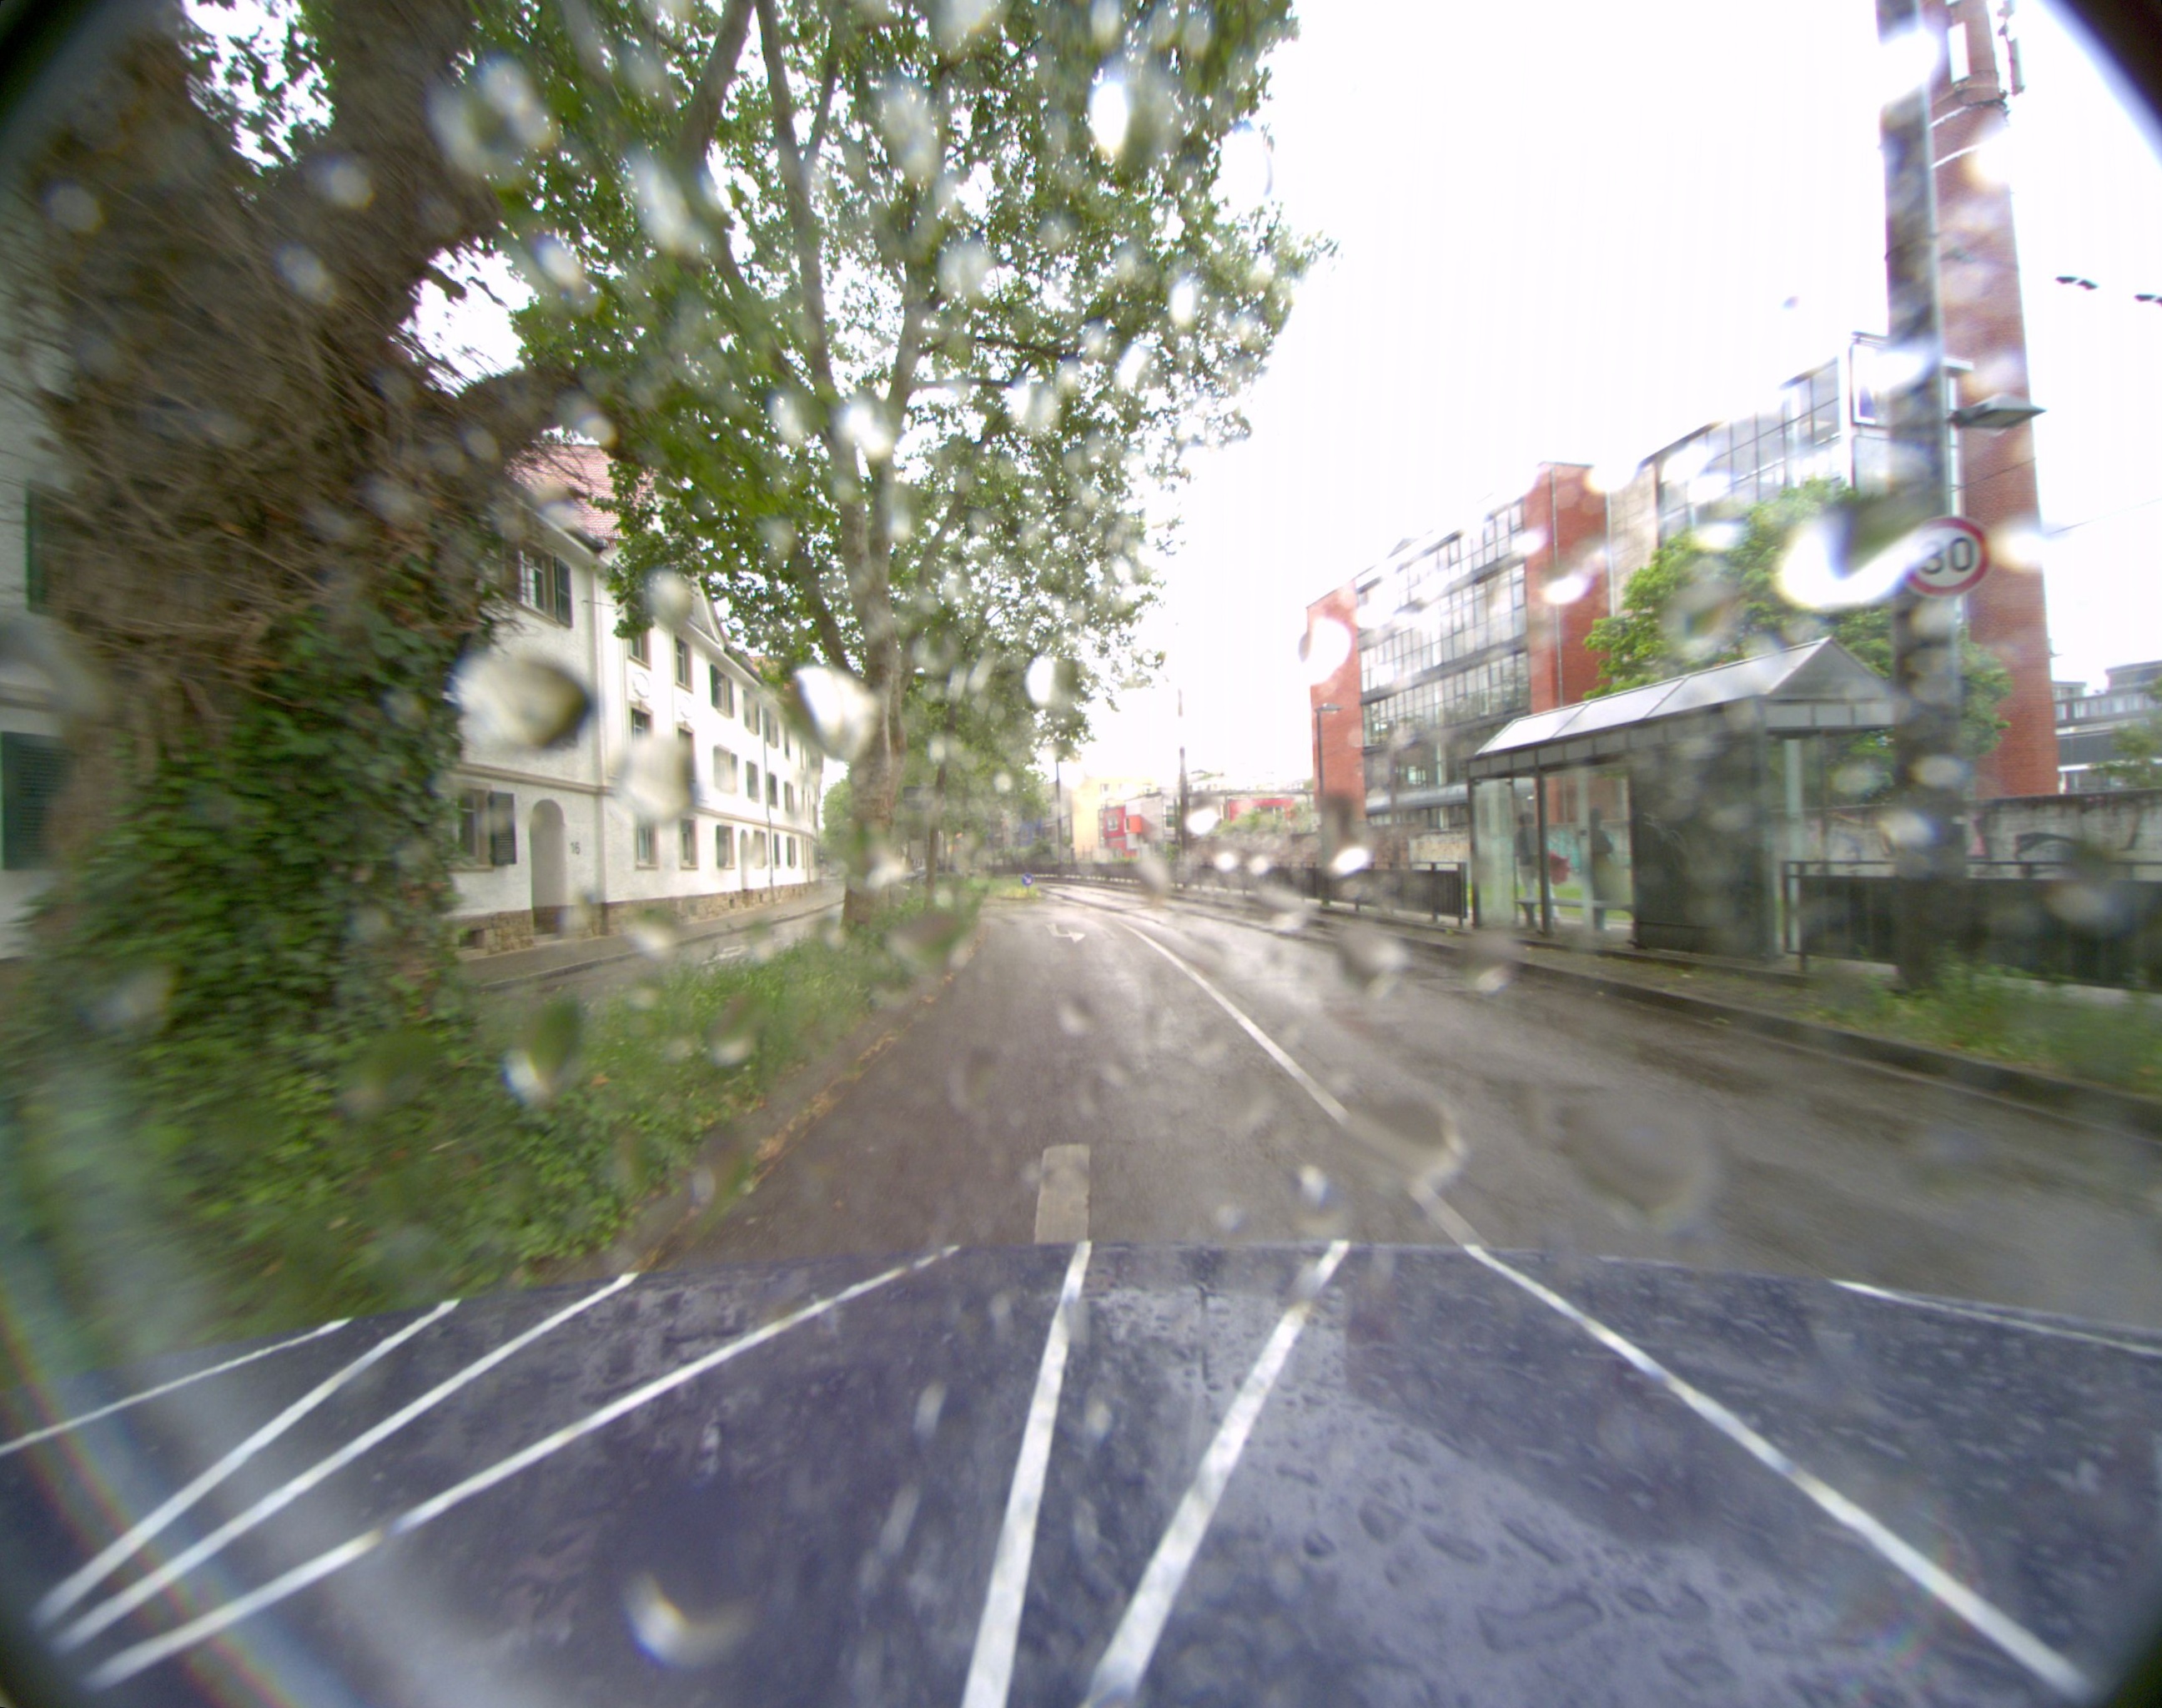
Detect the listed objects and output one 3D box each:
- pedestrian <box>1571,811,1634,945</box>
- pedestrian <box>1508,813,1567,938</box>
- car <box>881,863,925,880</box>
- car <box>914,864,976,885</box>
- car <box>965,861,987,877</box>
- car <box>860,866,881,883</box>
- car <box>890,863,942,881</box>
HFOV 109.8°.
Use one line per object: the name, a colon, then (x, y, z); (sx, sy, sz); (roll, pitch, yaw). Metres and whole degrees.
pedestrian: (6.948, 0.306, 10.125); (0.584, 1.721, 0.566); (-1, 0, -43)
pedestrian: (6.555, 0.298, 10.906); (0.584, 1.721, 0.566); (-1, 0, -41)
car: (-22.100, 2.205, 94.311); (4.884, 2.002, 2.002); (-1, 0, 11)
car: (-10.457, 1.600, 58.540); (4.224, 1.532, 1.932); (-1, 0, 11)
car: (-11.954, 1.718, 86.602); (1.694, 1.713, 3.685); (-1, 0, -20)
car: (-20.576, 1.955, 74.175); (1.853, 1.586, 4.210); (-2, 0, -17)
car: (-15.142, 1.626, 69.904); (4.328, 1.603, 1.749); (-1, 0, 6)
